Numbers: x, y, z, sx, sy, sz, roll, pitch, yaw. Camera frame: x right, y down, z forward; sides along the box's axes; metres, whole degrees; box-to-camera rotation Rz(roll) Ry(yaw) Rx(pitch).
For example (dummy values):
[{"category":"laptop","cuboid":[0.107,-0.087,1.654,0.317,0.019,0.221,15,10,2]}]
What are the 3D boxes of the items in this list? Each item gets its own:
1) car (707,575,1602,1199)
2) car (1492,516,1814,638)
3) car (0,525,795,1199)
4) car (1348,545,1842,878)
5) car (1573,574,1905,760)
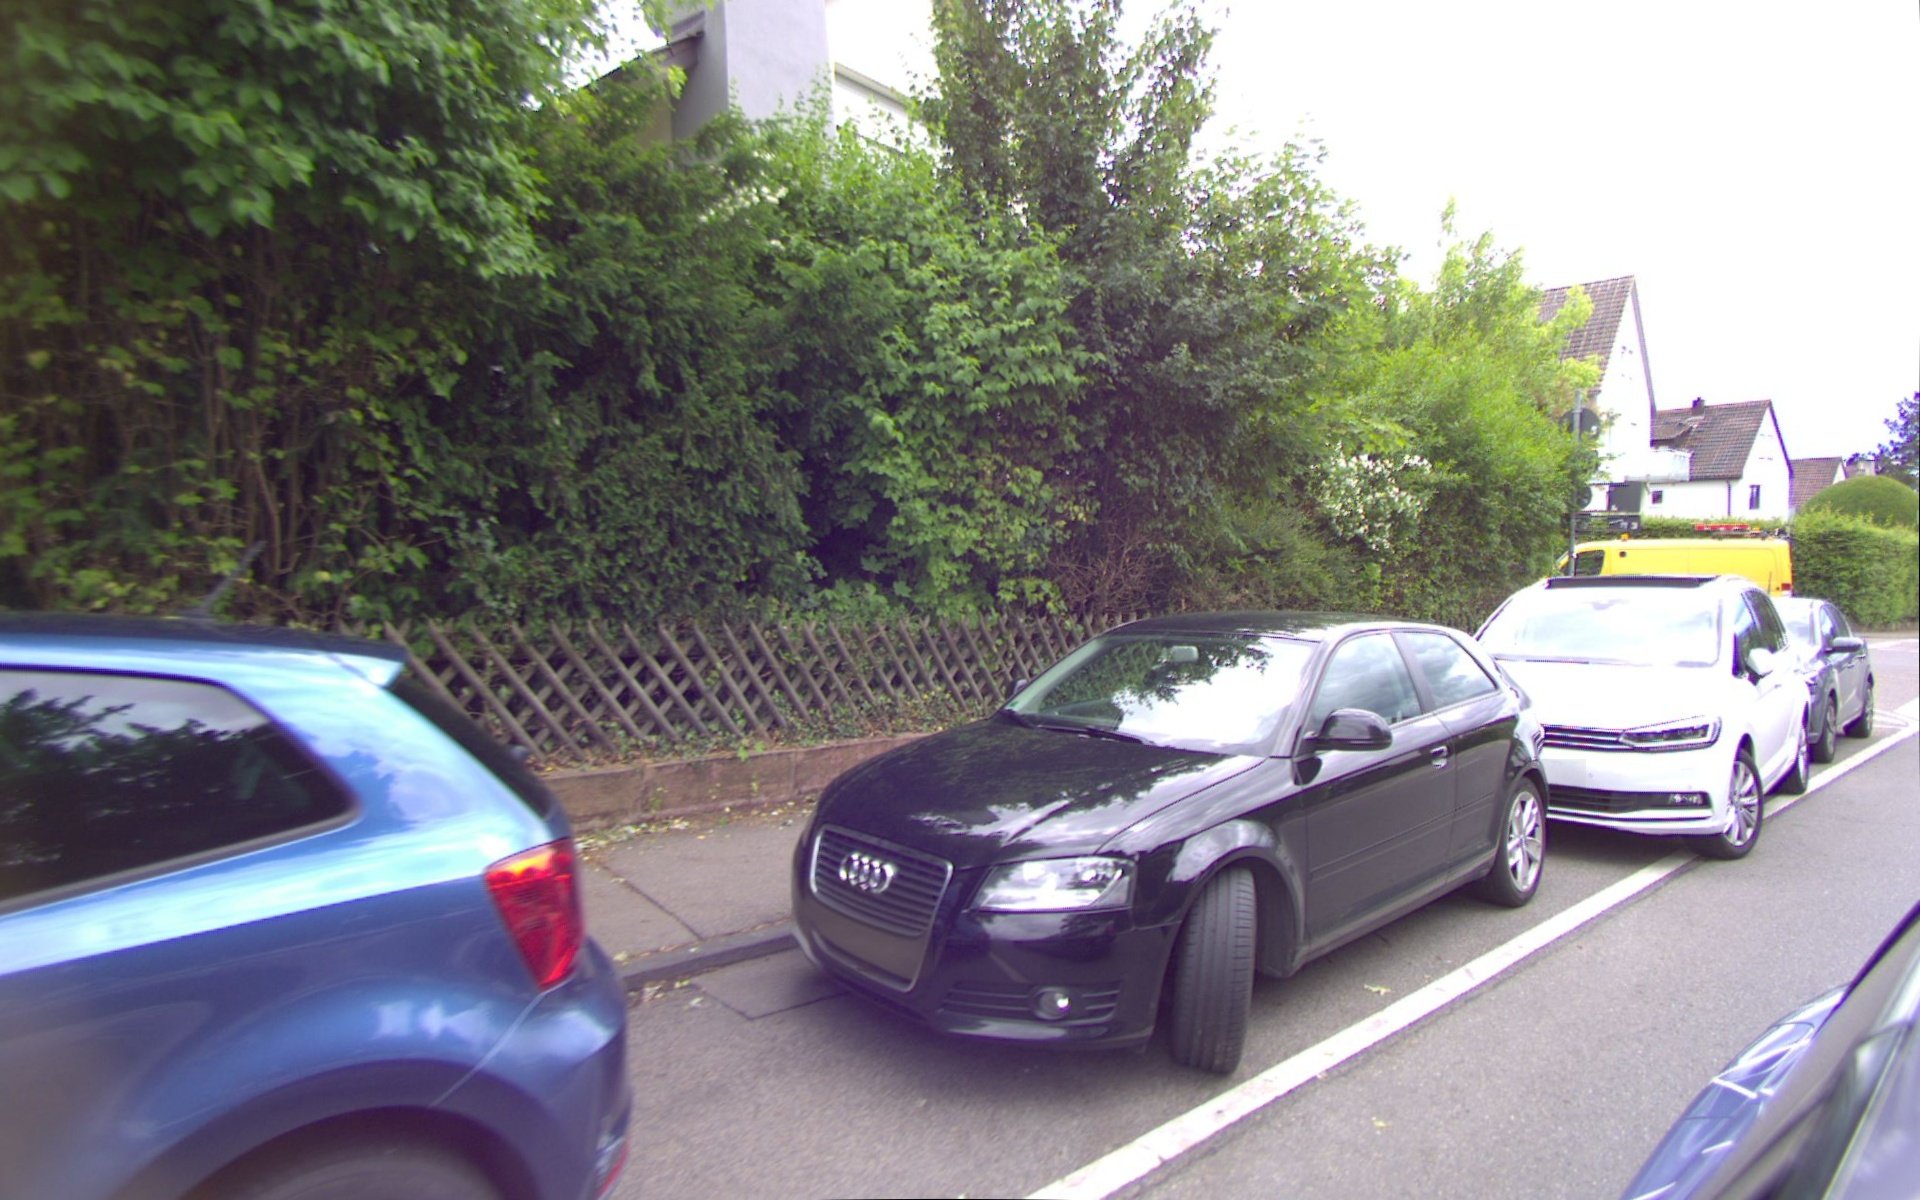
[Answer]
[{"category":"car","cuboid":[1.245,0.658,4.547,4.307,1.470,1.811,-1,3,-45]},{"category":"car","cuboid":[16.510,-0.662,24.572,6.102,2.633,2.340,3,2,34]},{"category":"car","cuboid":[-2.421,0.673,1.312,4.086,1.527,1.701,0,0,-40]},{"category":"car","cuboid":[4.853,0.501,7.377,4.681,1.628,2.002,0,3,-45]},{"category":"car","cuboid":[8.381,0.543,10.740,4.379,1.510,1.941,0,3,-41]}]
